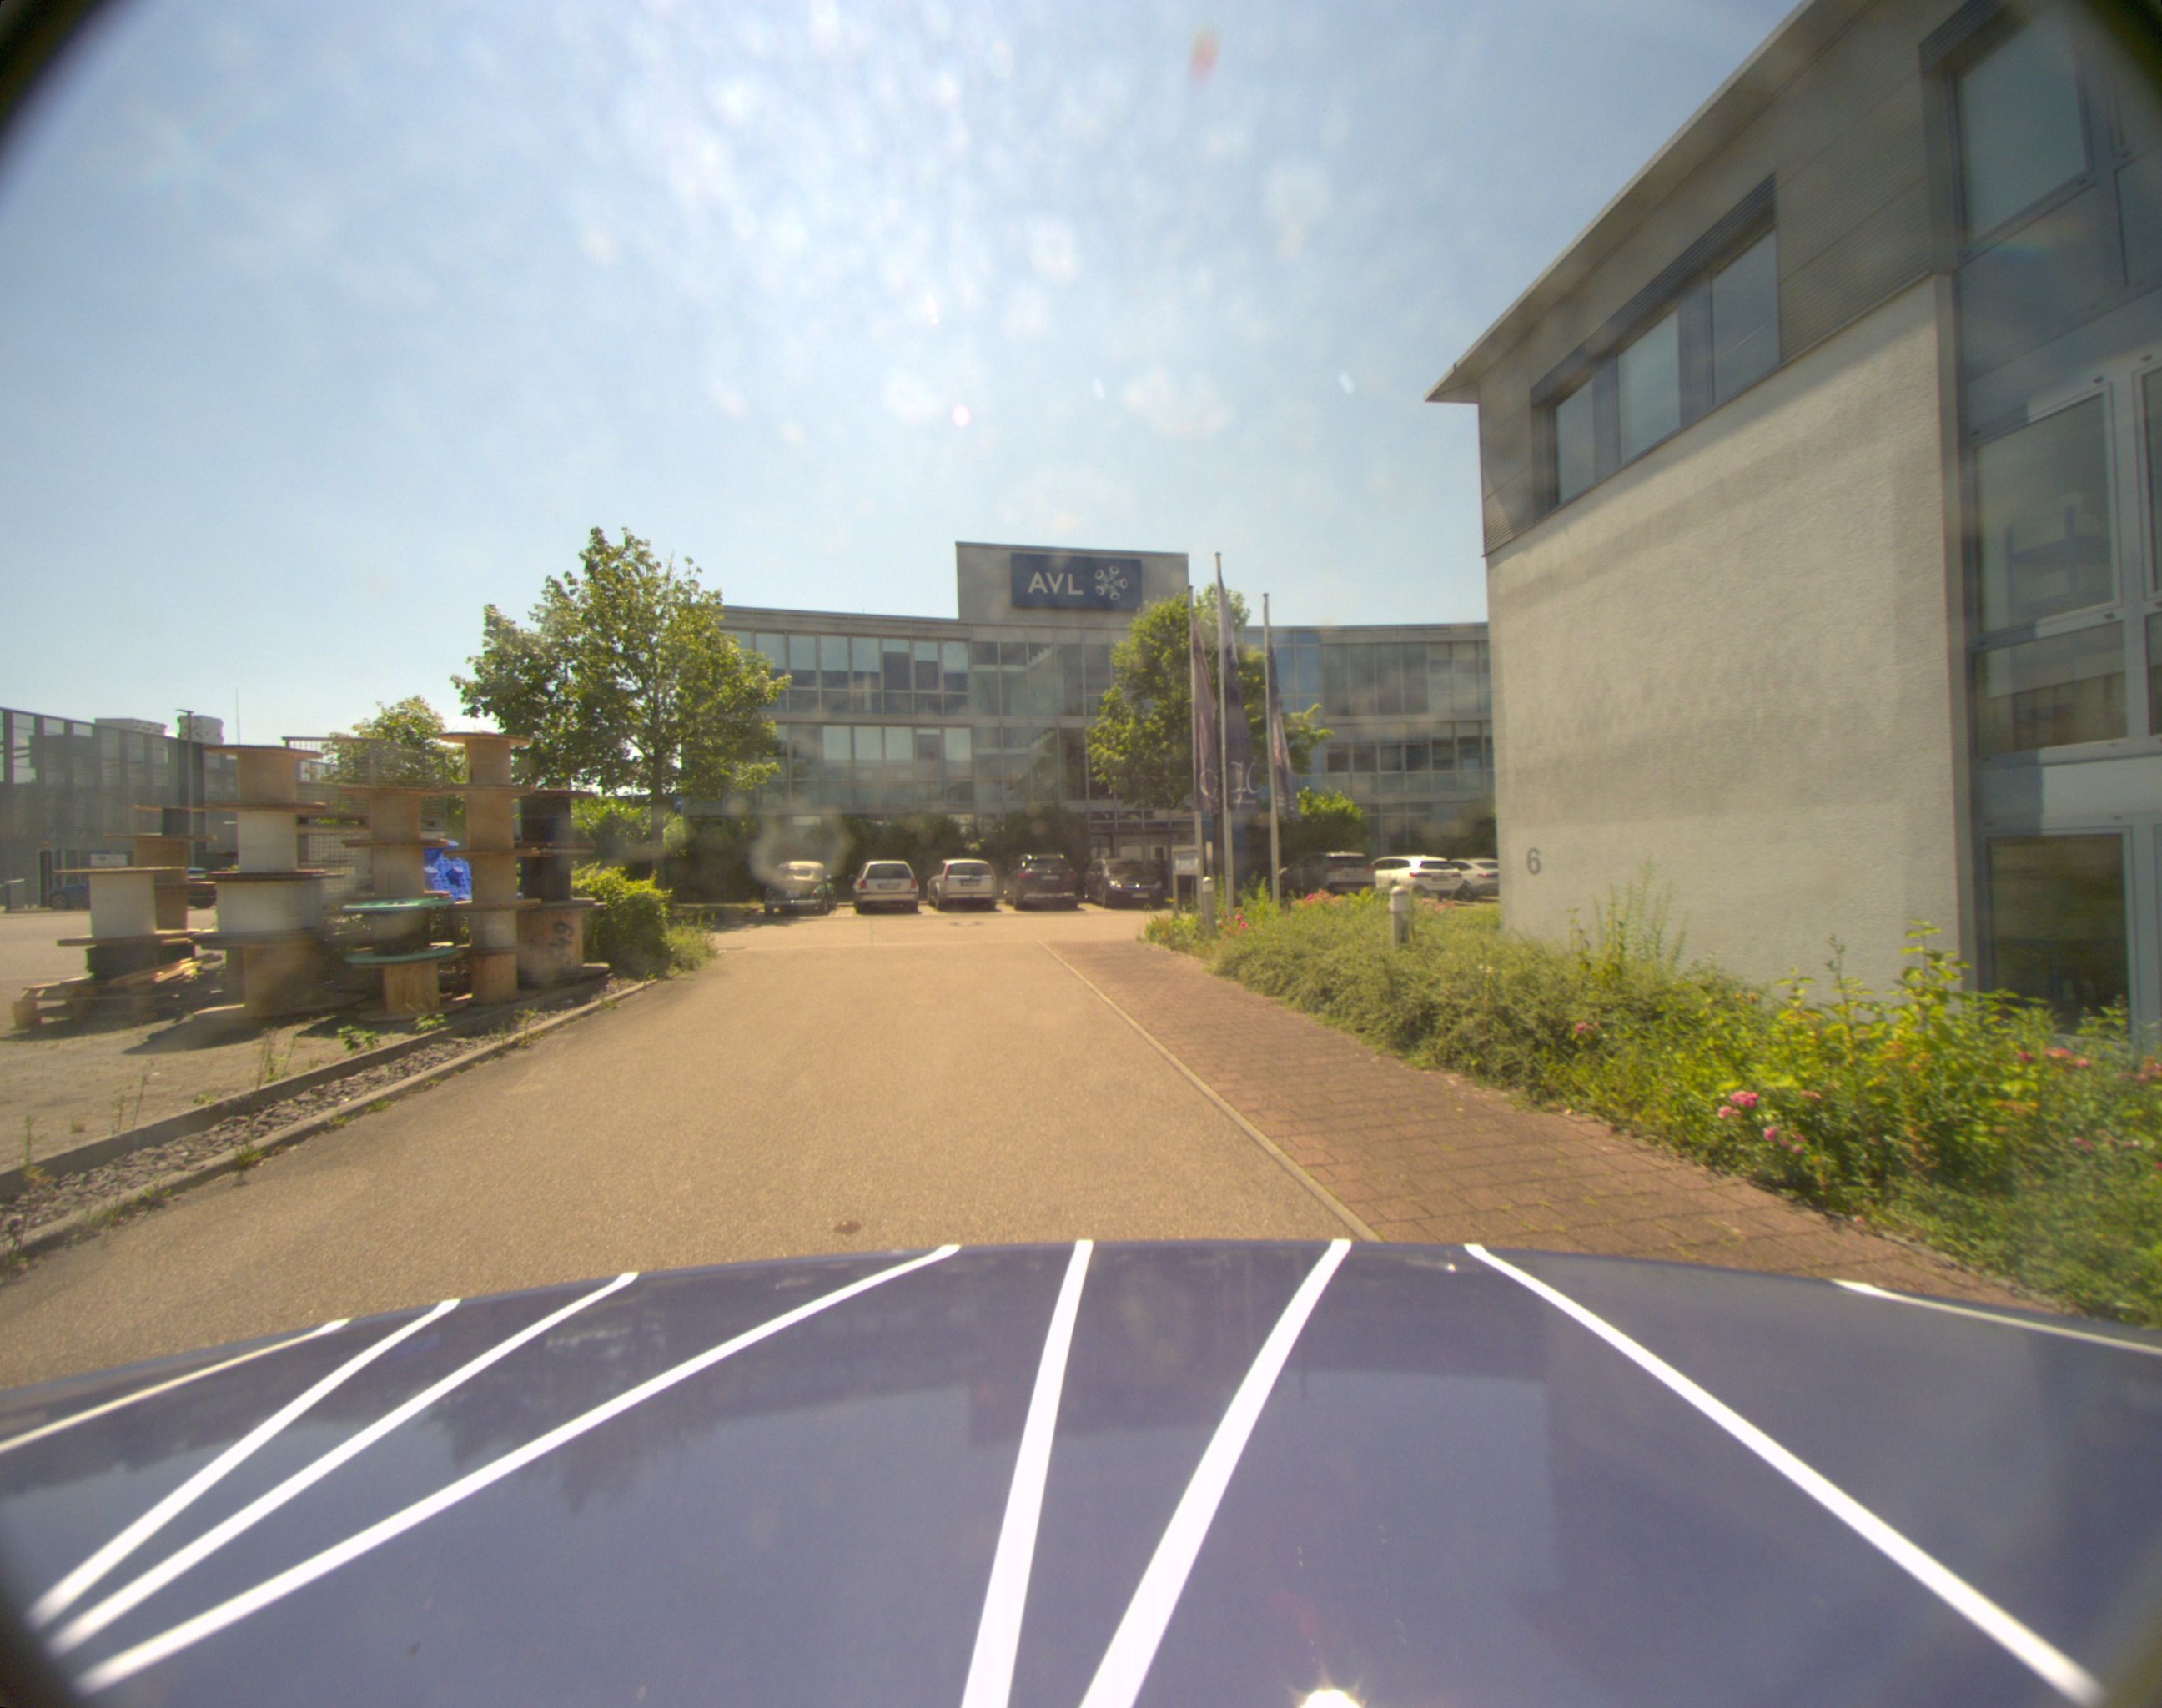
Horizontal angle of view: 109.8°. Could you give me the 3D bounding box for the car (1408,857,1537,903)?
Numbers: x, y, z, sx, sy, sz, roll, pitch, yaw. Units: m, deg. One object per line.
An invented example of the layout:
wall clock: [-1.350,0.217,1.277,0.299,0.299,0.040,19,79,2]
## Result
car: [13.015,0.806,25.603,1.753,1.392,4.168,-1,0,-9]

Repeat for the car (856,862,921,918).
car: [-5.701,0.971,22.269,1.644,1.443,3.595,0,0,-17]

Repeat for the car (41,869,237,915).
car: [-31.821,1.271,25.751,4.442,1.401,1.860,-1,0,3]

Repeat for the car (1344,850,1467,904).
car: [10.632,0.696,25.266,1.833,1.628,4.168,-1,0,-9]

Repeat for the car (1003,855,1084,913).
car: [-1.247,0.846,23.559,1.940,1.593,3.855,0,1,-12]

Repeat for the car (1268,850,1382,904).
car: [7.980,0.702,25.300,1.834,1.628,4.167,-1,0,-11]

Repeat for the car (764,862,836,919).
car: [-7.918,0.968,21.660,1.523,1.437,3.415,0,0,-14]

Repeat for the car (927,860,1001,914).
car: [-3.668,0.941,23.292,1.734,1.443,3.595,0,1,-17]

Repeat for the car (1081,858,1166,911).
car: [1.238,0.897,24.193,1.731,1.475,4.393,-1,0,-10]
